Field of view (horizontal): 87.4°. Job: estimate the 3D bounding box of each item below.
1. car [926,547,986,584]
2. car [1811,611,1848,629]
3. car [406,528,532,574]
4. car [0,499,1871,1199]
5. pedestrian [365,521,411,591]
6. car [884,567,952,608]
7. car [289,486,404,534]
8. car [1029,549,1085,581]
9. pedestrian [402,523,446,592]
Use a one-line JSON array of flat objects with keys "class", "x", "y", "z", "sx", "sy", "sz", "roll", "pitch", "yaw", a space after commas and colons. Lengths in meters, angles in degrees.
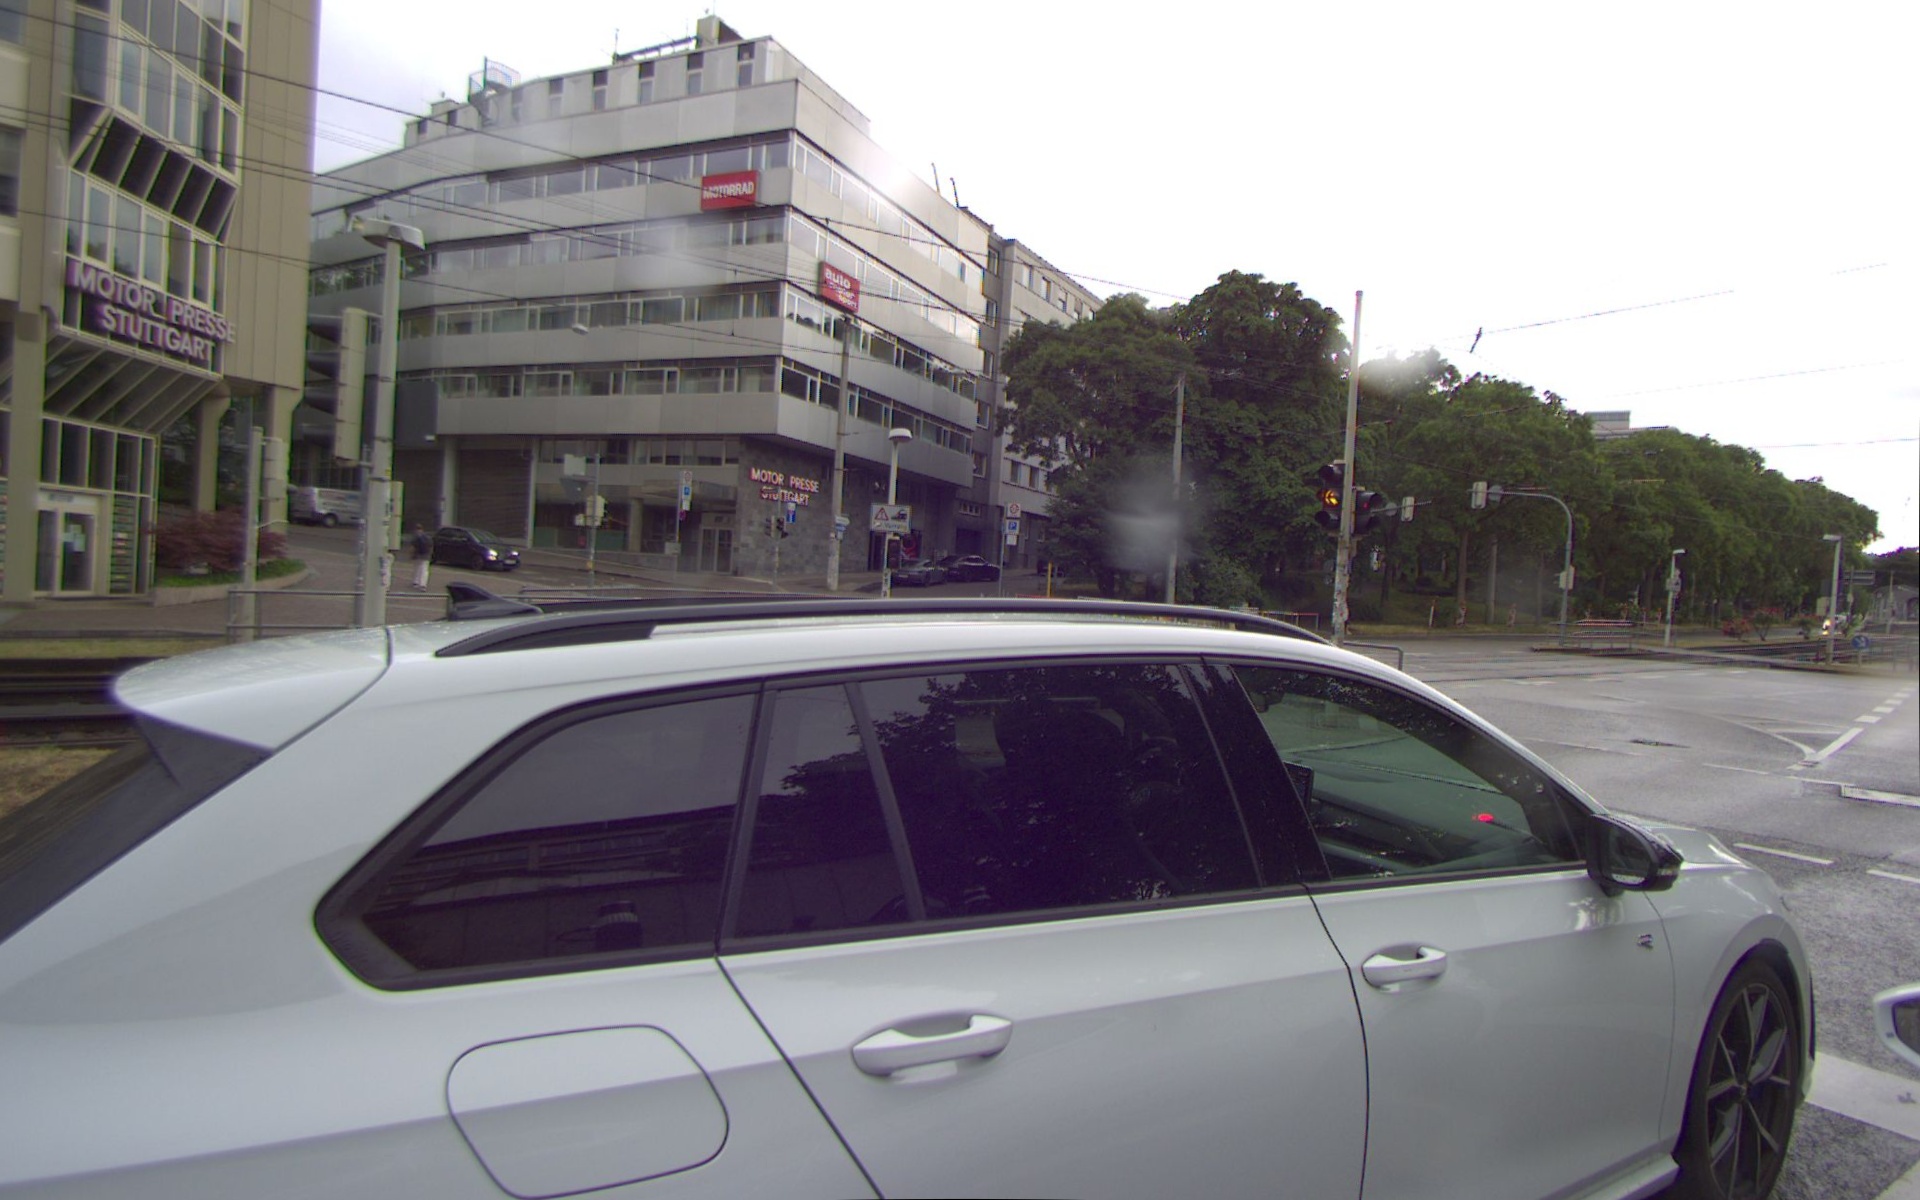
[{"class": "car", "x": -0.169, "y": -1.950, "z": 55.618, "sx": 1.961, "sy": 1.818, "sz": 3.998, "roll": 5, "pitch": 5, "yaw": 19}, {"class": "car", "x": 81.874, "y": 1.864, "z": 94.577, "sx": 3.967, "sy": 1.539, "sz": 1.977, "roll": 1, "pitch": 2, "yaw": -40}, {"class": "car", "x": -18.181, "y": -1.809, "z": 37.248, "sx": 3.920, "sy": 1.383, "sz": 1.830, "roll": 5, "pitch": 2, "yaw": 16}, {"class": "car", "x": 0.103, "y": 0.732, "z": 2.255, "sx": 4.203, "sy": 1.597, "sz": 1.670, "roll": 2, "pitch": 1, "yaw": -31}, {"class": "pedestrian", "x": -15.283, "y": -1.164, "z": 26.850, "sx": 0.630, "sy": 1.811, "sz": 0.808, "roll": 6, "pitch": 3, "yaw": 36}, {"class": "car", "x": -2.073, "y": -0.641, "z": 50.757, "sx": 1.961, "sy": 1.818, "sz": 4.000, "roll": 5, "pitch": 2, "yaw": 19}, {"class": "car", "x": -32.097, "y": -4.689, "z": 52.718, "sx": 1.963, "sy": 2.040, "sz": 4.831, "roll": 5, "pitch": 2, "yaw": 26}, {"class": "car", "x": 6.426, "y": -2.291, "z": 65.902, "sx": 1.964, "sy": 1.818, "sz": 4.202, "roll": 6, "pitch": 2, "yaw": 30}, {"class": "pedestrian", "x": -14.750, "y": -1.159, "z": 27.639, "sx": 0.630, "sy": 1.811, "sz": 0.808, "roll": 6, "pitch": 3, "yaw": 36}]
